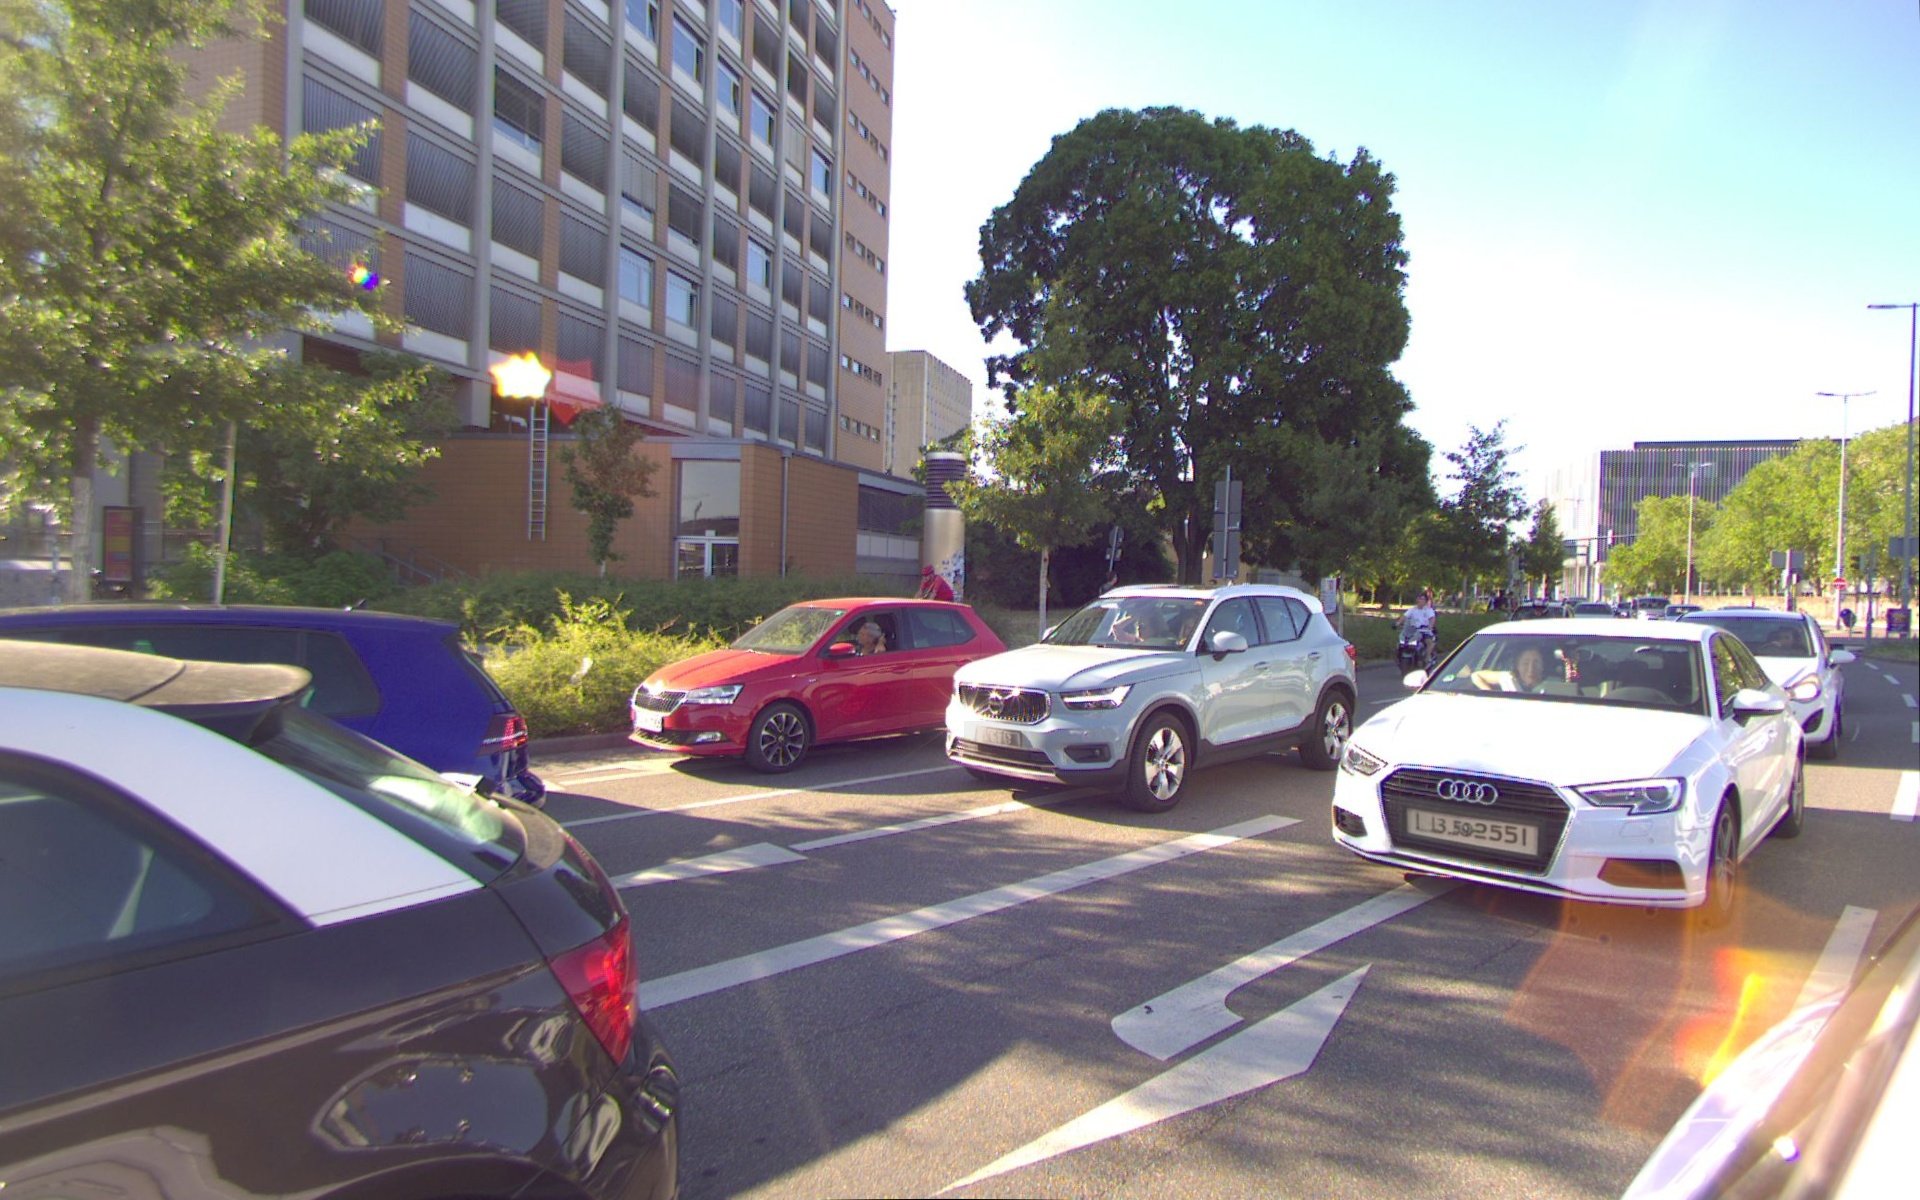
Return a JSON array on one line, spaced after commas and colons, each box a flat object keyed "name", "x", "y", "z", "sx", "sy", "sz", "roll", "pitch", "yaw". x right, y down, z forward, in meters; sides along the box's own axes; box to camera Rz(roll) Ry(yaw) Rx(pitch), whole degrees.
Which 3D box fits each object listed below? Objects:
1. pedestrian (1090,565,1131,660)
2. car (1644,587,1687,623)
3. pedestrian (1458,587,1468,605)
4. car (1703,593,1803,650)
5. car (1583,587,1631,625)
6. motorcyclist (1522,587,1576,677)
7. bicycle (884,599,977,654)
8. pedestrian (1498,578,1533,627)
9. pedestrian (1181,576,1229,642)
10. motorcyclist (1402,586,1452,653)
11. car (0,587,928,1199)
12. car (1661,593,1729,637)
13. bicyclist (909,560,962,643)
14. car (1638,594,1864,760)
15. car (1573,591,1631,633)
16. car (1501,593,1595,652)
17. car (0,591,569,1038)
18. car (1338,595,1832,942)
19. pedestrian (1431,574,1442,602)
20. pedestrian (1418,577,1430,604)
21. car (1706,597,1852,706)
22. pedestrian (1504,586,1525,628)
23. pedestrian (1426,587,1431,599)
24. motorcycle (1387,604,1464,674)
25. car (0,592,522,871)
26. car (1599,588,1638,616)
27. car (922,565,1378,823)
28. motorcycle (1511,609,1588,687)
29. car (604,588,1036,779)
[{"name": "pedestrian", "x": 3.087, "y": 0.252, "z": 20.762, "sx": 0.681, "sy": 1.910, "sz": 0.465, "roll": 0, "pitch": 0, "yaw": -24}, {"name": "car", "x": 38.695, "y": 0.262, "z": 55.548, "sx": 1.867, "sy": 1.838, "sz": 3.950, "roll": 2, "pitch": 1, "yaw": 35}, {"name": "pedestrian", "x": 55.163, "y": -0.429, "z": 111.097, "sx": 0.828, "sy": 2.039, "sz": 1.061, "roll": 0, "pitch": 0, "yaw": 19}, {"name": "car", "x": 24.454, "y": 0.607, "z": 31.341, "sx": 1.731, "sy": 1.564, "sz": 3.960, "roll": 2, "pitch": 1, "yaw": 29}, {"name": "car", "x": 33.323, "y": 0.298, "z": 52.089, "sx": 1.867, "sy": 1.838, "sz": 3.950, "roll": 2, "pitch": 1, "yaw": 35}, {"name": "motorcyclist", "x": 10.854, "y": 0.570, "z": 18.657, "sx": 0.709, "sy": 1.610, "sz": 0.679, "roll": 0, "pitch": 0, "yaw": 45}, {"name": "bicycle", "x": -0.558, "y": 0.497, "z": 19.937, "sx": 0.657, "sy": 0.975, "sz": 2.005, "roll": 2, "pitch": 2, "yaw": 41}, {"name": "pedestrian", "x": 23.706, "y": 0.102, "z": 43.178, "sx": 1.137, "sy": 2.039, "sz": 1.268, "roll": 0, "pitch": 0, "yaw": 39}, {"name": "pedestrian", "x": 6.688, "y": 0.234, "z": 27.599, "sx": 1.005, "sy": 1.742, "sz": 0.873, "roll": 0, "pitch": 0, "yaw": 39}, {"name": "motorcyclist", "x": 9.495, "y": 0.381, "z": 20.560, "sx": 0.716, "sy": 1.321, "sz": 0.723, "roll": 0, "pitch": 0, "yaw": 45}, {"name": "car", "x": -2.068, "y": 0.703, "z": 1.231, "sx": 3.930, "sy": 1.422, "sz": 1.626, "roll": -1, "pitch": 0, "yaw": -41}, {"name": "car", "x": 31.637, "y": 0.599, "z": 43.660, "sx": 1.730, "sy": 1.727, "sz": 3.962, "roll": 2, "pitch": 1, "yaw": 27}, {"name": "bicyclist", "x": -0.482, "y": 0.023, "z": 20.020, "sx": 0.615, "sy": 1.580, "sz": 0.858, "roll": 0, "pitch": 0, "yaw": 42}, {"name": "car", "x": 8.871, "y": 0.691, "z": 11.217, "sx": 1.623, "sy": 1.478, "sz": 3.979, "roll": 0, "pitch": 1, "yaw": 43}, {"name": "car", "x": 26.088, "y": 0.451, "z": 41.222, "sx": 1.731, "sy": 1.564, "sz": 3.959, "roll": 2, "pitch": 1, "yaw": 29}, {"name": "car", "x": 16.960, "y": 0.590, "z": 29.118, "sx": 1.738, "sy": 1.544, "sz": 3.943, "roll": 2, "pitch": 2, "yaw": 39}, {"name": "car", "x": -3.717, "y": 0.687, "z": 3.756, "sx": 3.930, "sy": 1.422, "sz": 1.626, "roll": -1, "pitch": 0, "yaw": -41}, {"name": "car", "x": 3.943, "y": 0.692, "z": 6.112, "sx": 3.769, "sy": 1.422, "sz": 1.625, "roll": -1, "pitch": 0, "yaw": -43}, {"name": "pedestrian", "x": 27.194, "y": -0.686, "z": 57.763, "sx": 0.543, "sy": 1.627, "sz": 0.598, "roll": 0, "pitch": 0, "yaw": 30}, {"name": "pedestrian", "x": 26.644, "y": -0.557, "z": 58.119, "sx": 0.543, "sy": 1.549, "sz": 0.598, "roll": 0, "pitch": 0, "yaw": 30}, {"name": "car", "x": 13.109, "y": 0.713, "z": 16.112, "sx": 1.622, "sy": 1.478, "sz": 3.981, "roll": 0, "pitch": 1, "yaw": 42}, {"name": "pedestrian", "x": 21.386, "y": 0.266, "z": 39.033, "sx": 0.593, "sy": 1.615, "sz": 0.586, "roll": 0, "pitch": 0, "yaw": 41}, {"name": "pedestrian", "x": 62.781, "y": -0.921, "z": 135.577, "sx": 0.477, "sy": 1.504, "sz": 0.409, "roll": 1, "pitch": 1, "yaw": -41}, {"name": "motorcycle", "x": 9.459, "y": 0.756, "z": 20.522, "sx": 0.716, "sy": 1.321, "sz": 2.199, "roll": 0, "pitch": 0, "yaw": 44}, {"name": "car", "x": -5.216, "y": 0.673, "z": 6.103, "sx": 4.433, "sy": 1.422, "sz": 1.726, "roll": -1, "pitch": 0, "yaw": -41}, {"name": "car", "x": 43.353, "y": 0.105, "z": 66.702, "sx": 1.730, "sy": 1.727, "sz": 3.961, "roll": 2, "pitch": 1, "yaw": 28}, {"name": "car", "x": 1.771, "y": 0.572, "z": 8.452, "sx": 4.153, "sy": 1.641, "sz": 1.625, "roll": -1, "pitch": 0, "yaw": -43}, {"name": "motorcycle", "x": 10.893, "y": 0.844, "z": 18.674, "sx": 0.716, "sy": 1.321, "sz": 2.199, "roll": 0, "pitch": 0, "yaw": 44}, {"name": "car", "x": -1.194, "y": 0.632, "z": 9.837, "sx": 3.974, "sy": 1.478, "sz": 1.625, "roll": -1, "pitch": 0, "yaw": -43}]
